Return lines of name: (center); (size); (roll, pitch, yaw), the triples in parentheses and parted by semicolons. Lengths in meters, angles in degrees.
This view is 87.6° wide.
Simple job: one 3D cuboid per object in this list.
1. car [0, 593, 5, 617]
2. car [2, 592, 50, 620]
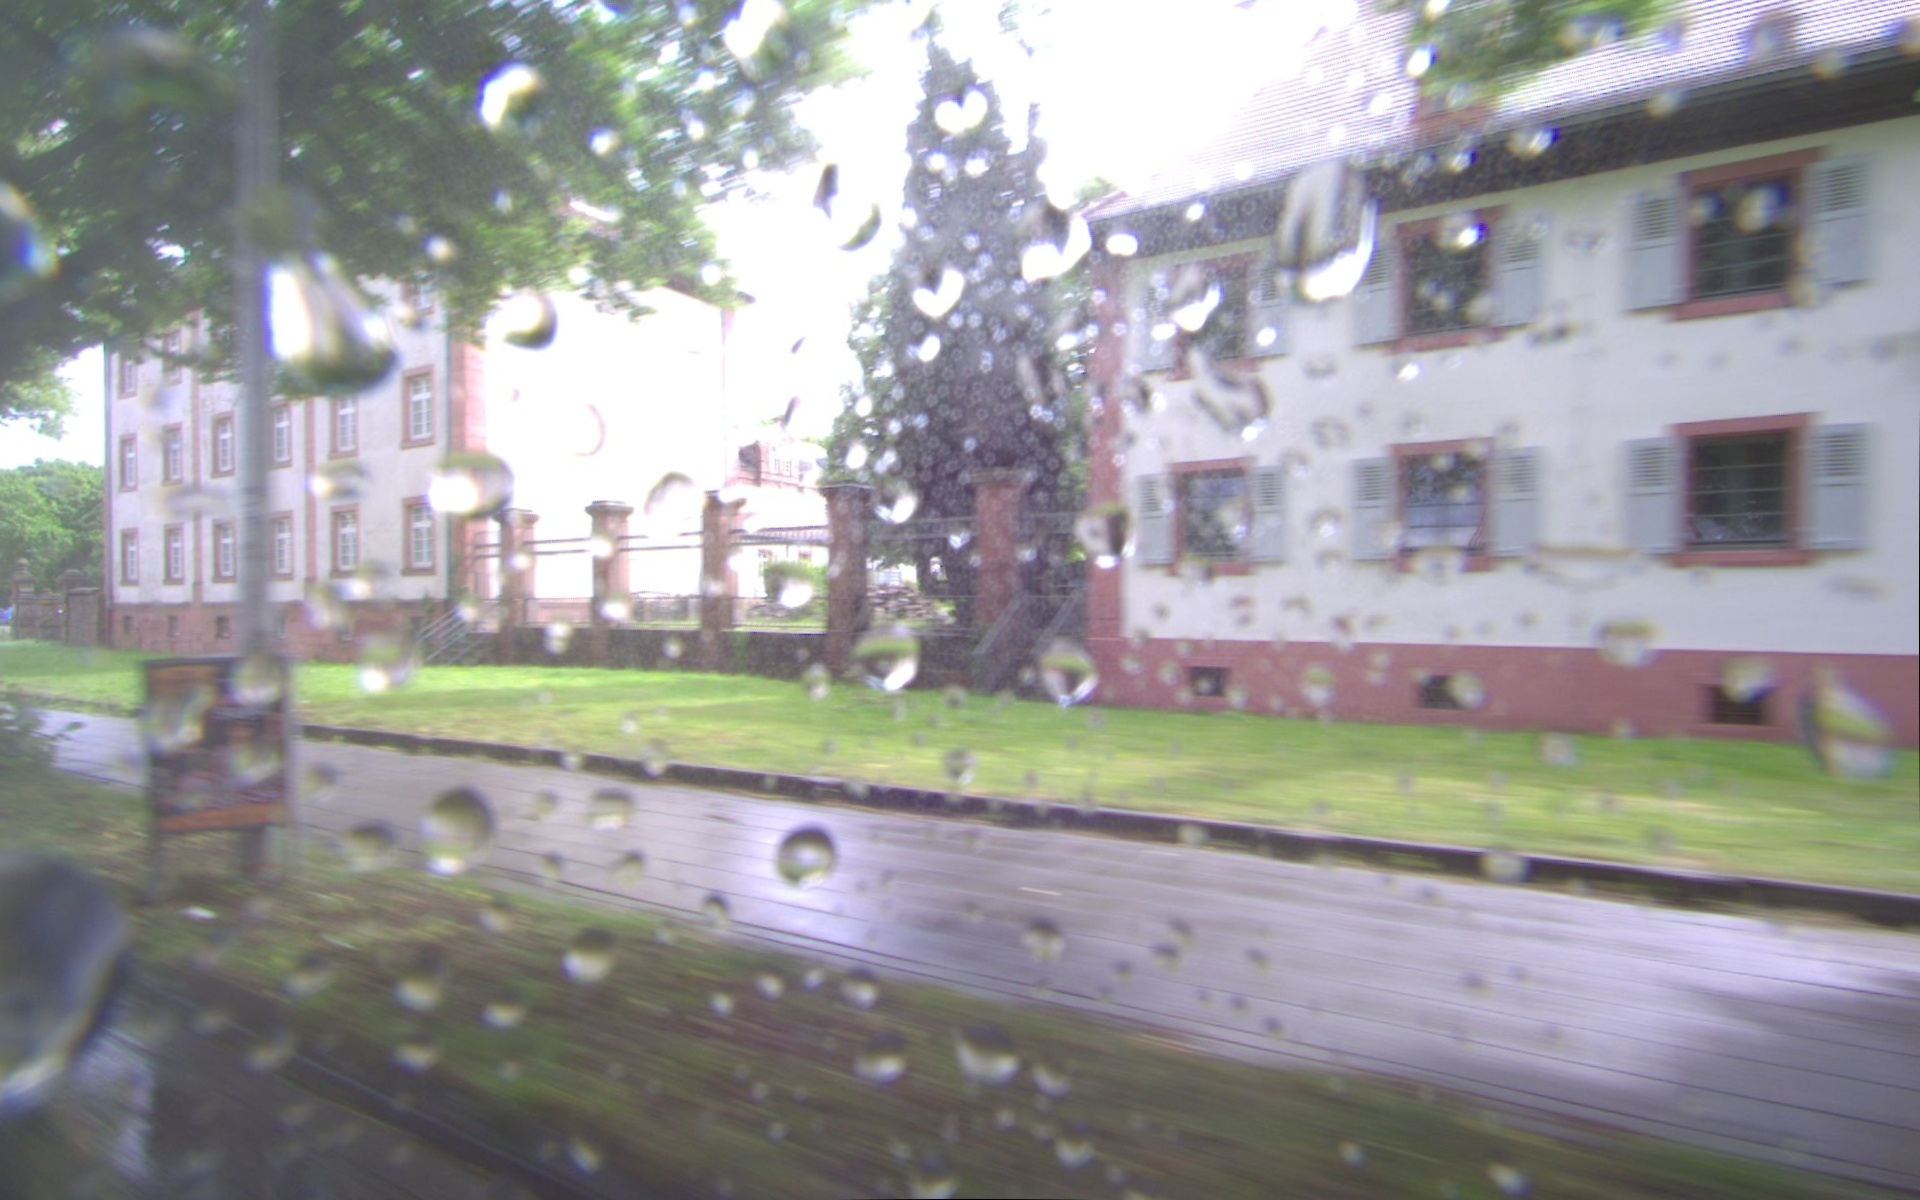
car: (-77.211, 0.398, 79.125); (3.760, 1.882, 1.860); (0, 3, 37)
car: (-72.495, 0.463, 77.700); (3.948, 2.041, 1.986); (0, 3, 37)
